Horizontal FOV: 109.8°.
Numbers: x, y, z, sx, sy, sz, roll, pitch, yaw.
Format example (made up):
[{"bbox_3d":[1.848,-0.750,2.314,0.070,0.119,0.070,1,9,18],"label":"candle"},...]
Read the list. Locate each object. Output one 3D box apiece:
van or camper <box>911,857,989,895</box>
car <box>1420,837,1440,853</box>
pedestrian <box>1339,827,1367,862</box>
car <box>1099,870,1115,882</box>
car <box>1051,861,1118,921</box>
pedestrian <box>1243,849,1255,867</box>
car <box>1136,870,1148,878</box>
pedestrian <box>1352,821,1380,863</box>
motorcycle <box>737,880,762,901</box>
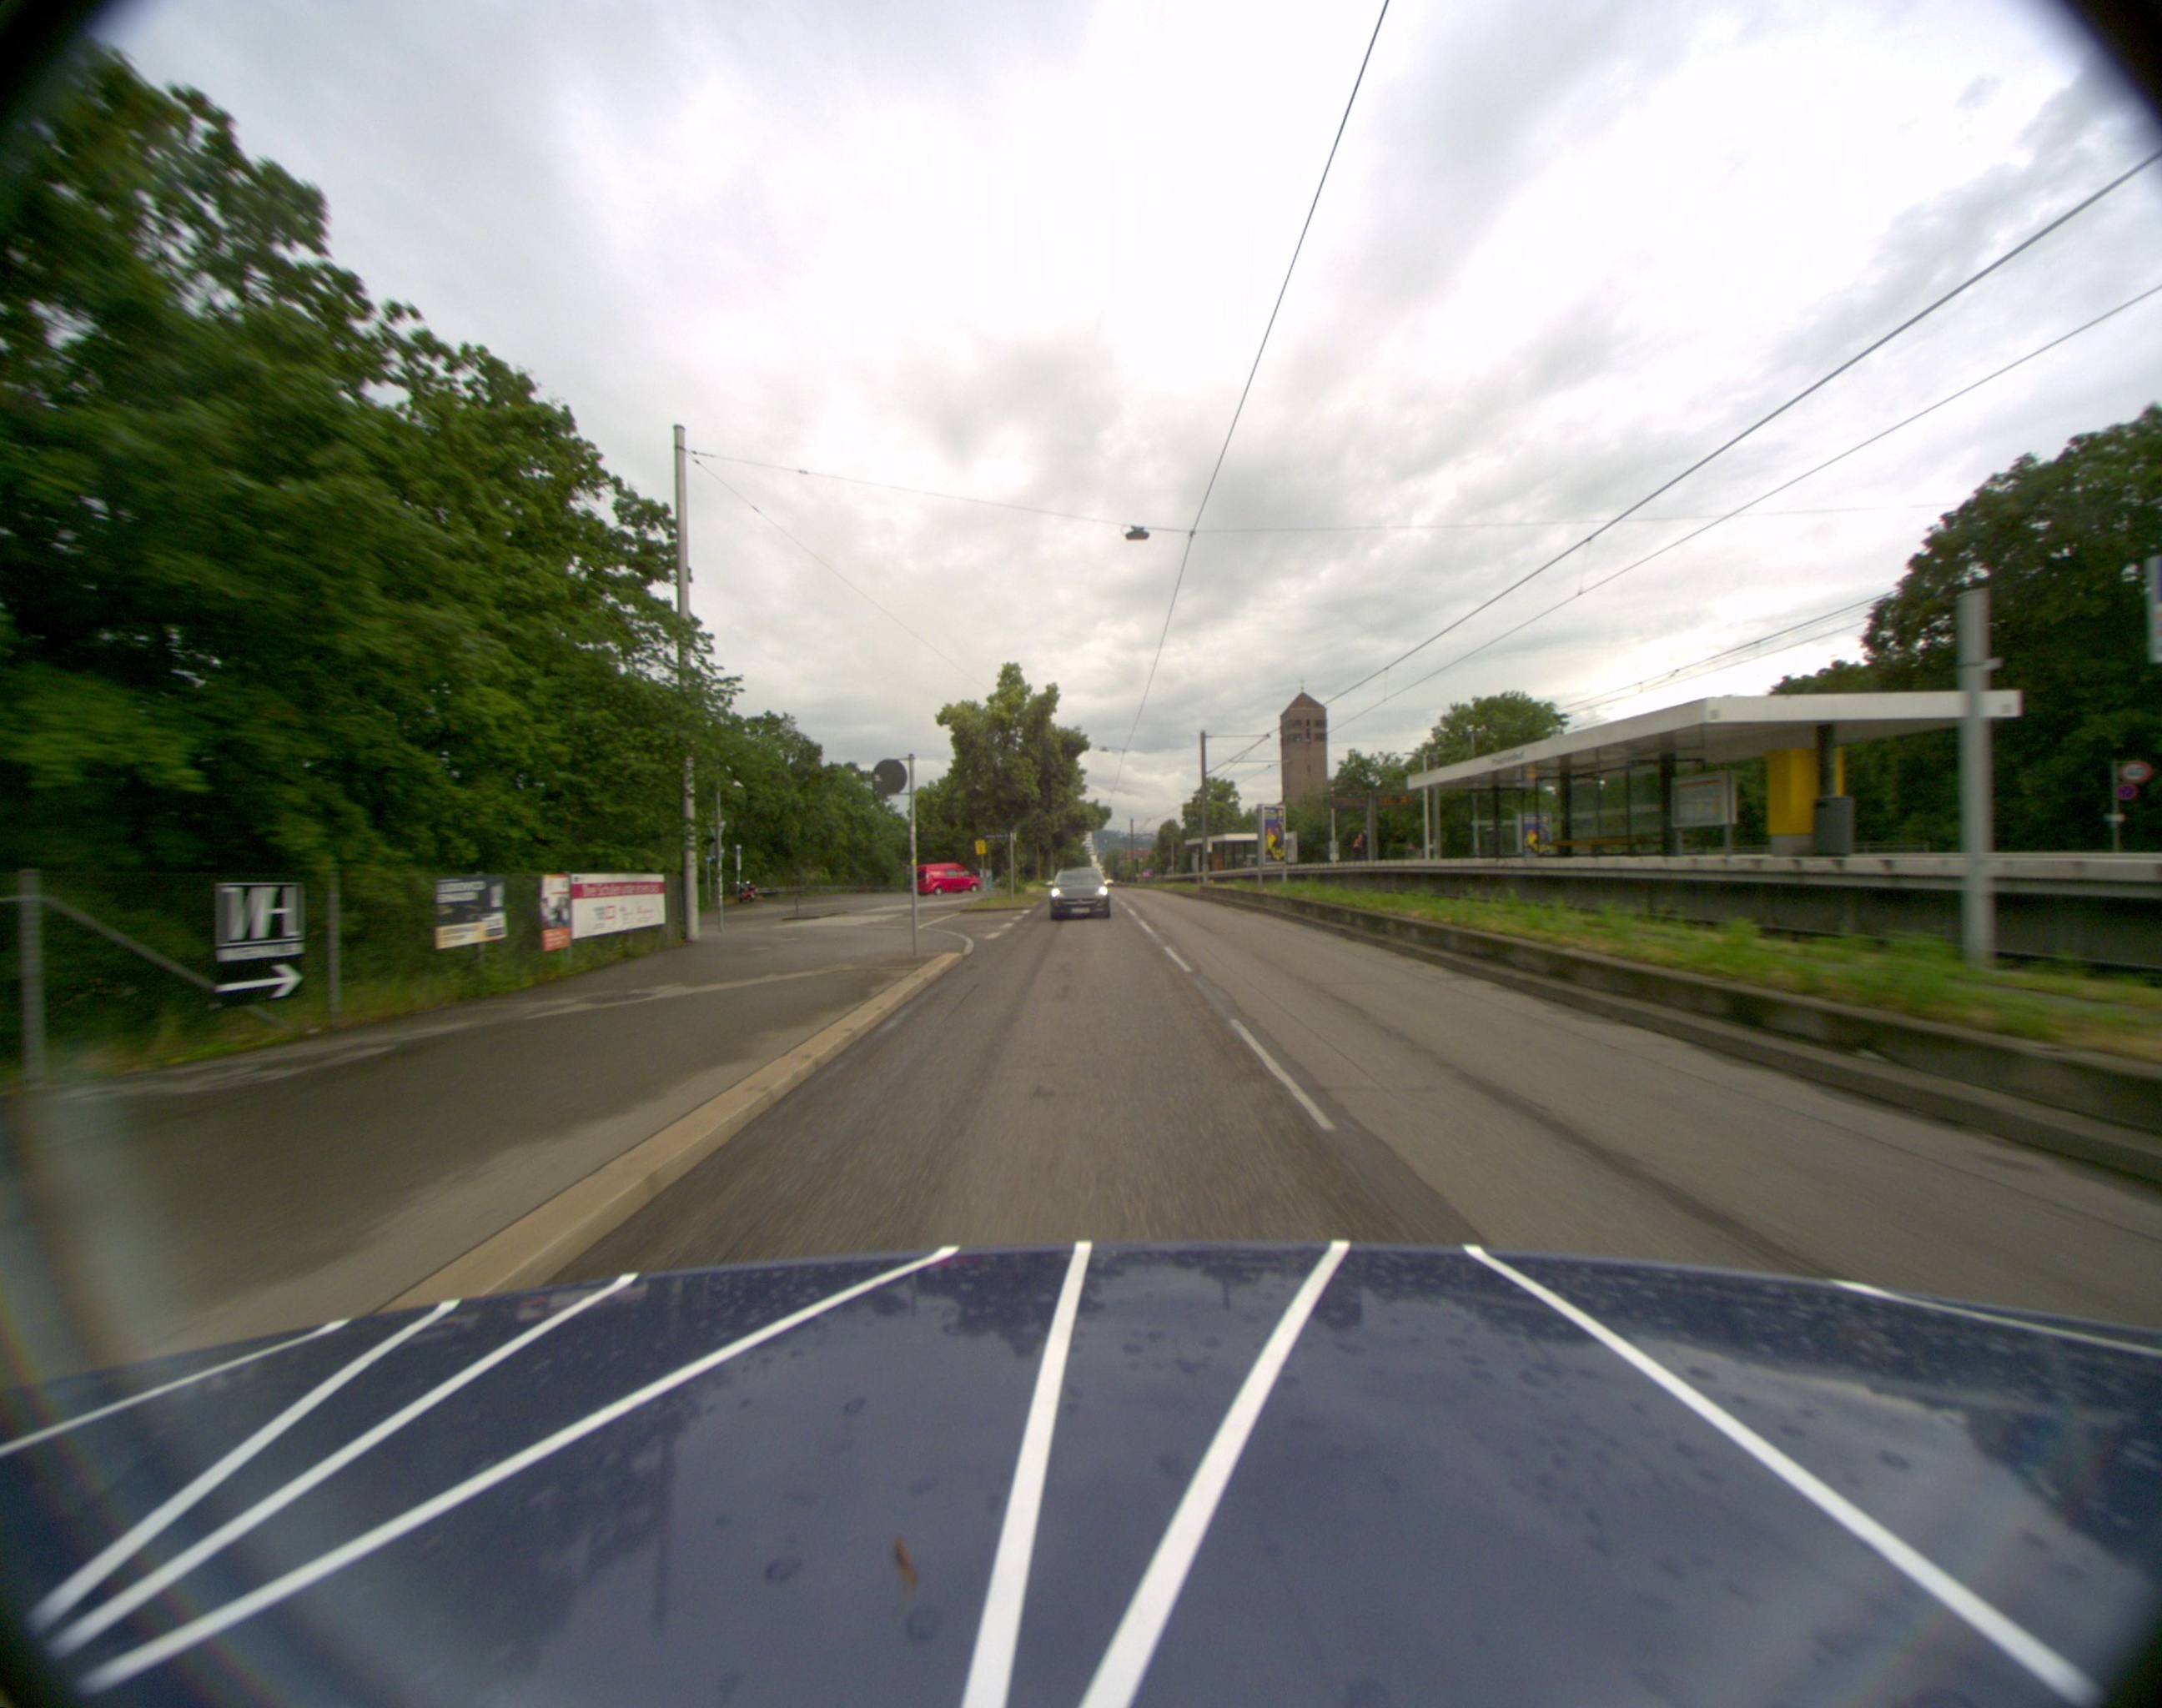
[{"bbox_3d":[-9.675,1.617,56.627,2.037,2.391,5.401,-7,-2,43],"label":"van or camper"},{"bbox_3d":[46.424,-1.238,101.021,1.995,2.002,4.007,-3,0,30],"label":"car"},{"bbox_3d":[13.242,-0.467,36.990,0.798,1.636,0.918,-2,-3,-22],"label":"pedestrian"},{"bbox_3d":[3.256,2.787,95.619,1.768,1.502,4.344,-2,-2,4],"label":"car"},{"bbox_3d":[0.073,1.086,22.918,1.746,1.543,4.495,-3,-2,-1],"label":"car"},{"bbox_3d":[12.172,0.300,54.967,0.712,1.218,0.619,-2,-1,-1],"label":"pedestrian"},{"bbox_3d":[12.893,4.193,161.770,1.999,1.614,4.518,-2,-2,-2],"label":"car"},{"bbox_3d":[13.527,-0.563,36.113,0.746,1.897,0.841,-2,-3,-21],"label":"pedestrian"},{"bbox_3d":[-20.645,2.265,47.292,2.018,1.207,0.474,1,5,39],"label":"motorcycle"}]
